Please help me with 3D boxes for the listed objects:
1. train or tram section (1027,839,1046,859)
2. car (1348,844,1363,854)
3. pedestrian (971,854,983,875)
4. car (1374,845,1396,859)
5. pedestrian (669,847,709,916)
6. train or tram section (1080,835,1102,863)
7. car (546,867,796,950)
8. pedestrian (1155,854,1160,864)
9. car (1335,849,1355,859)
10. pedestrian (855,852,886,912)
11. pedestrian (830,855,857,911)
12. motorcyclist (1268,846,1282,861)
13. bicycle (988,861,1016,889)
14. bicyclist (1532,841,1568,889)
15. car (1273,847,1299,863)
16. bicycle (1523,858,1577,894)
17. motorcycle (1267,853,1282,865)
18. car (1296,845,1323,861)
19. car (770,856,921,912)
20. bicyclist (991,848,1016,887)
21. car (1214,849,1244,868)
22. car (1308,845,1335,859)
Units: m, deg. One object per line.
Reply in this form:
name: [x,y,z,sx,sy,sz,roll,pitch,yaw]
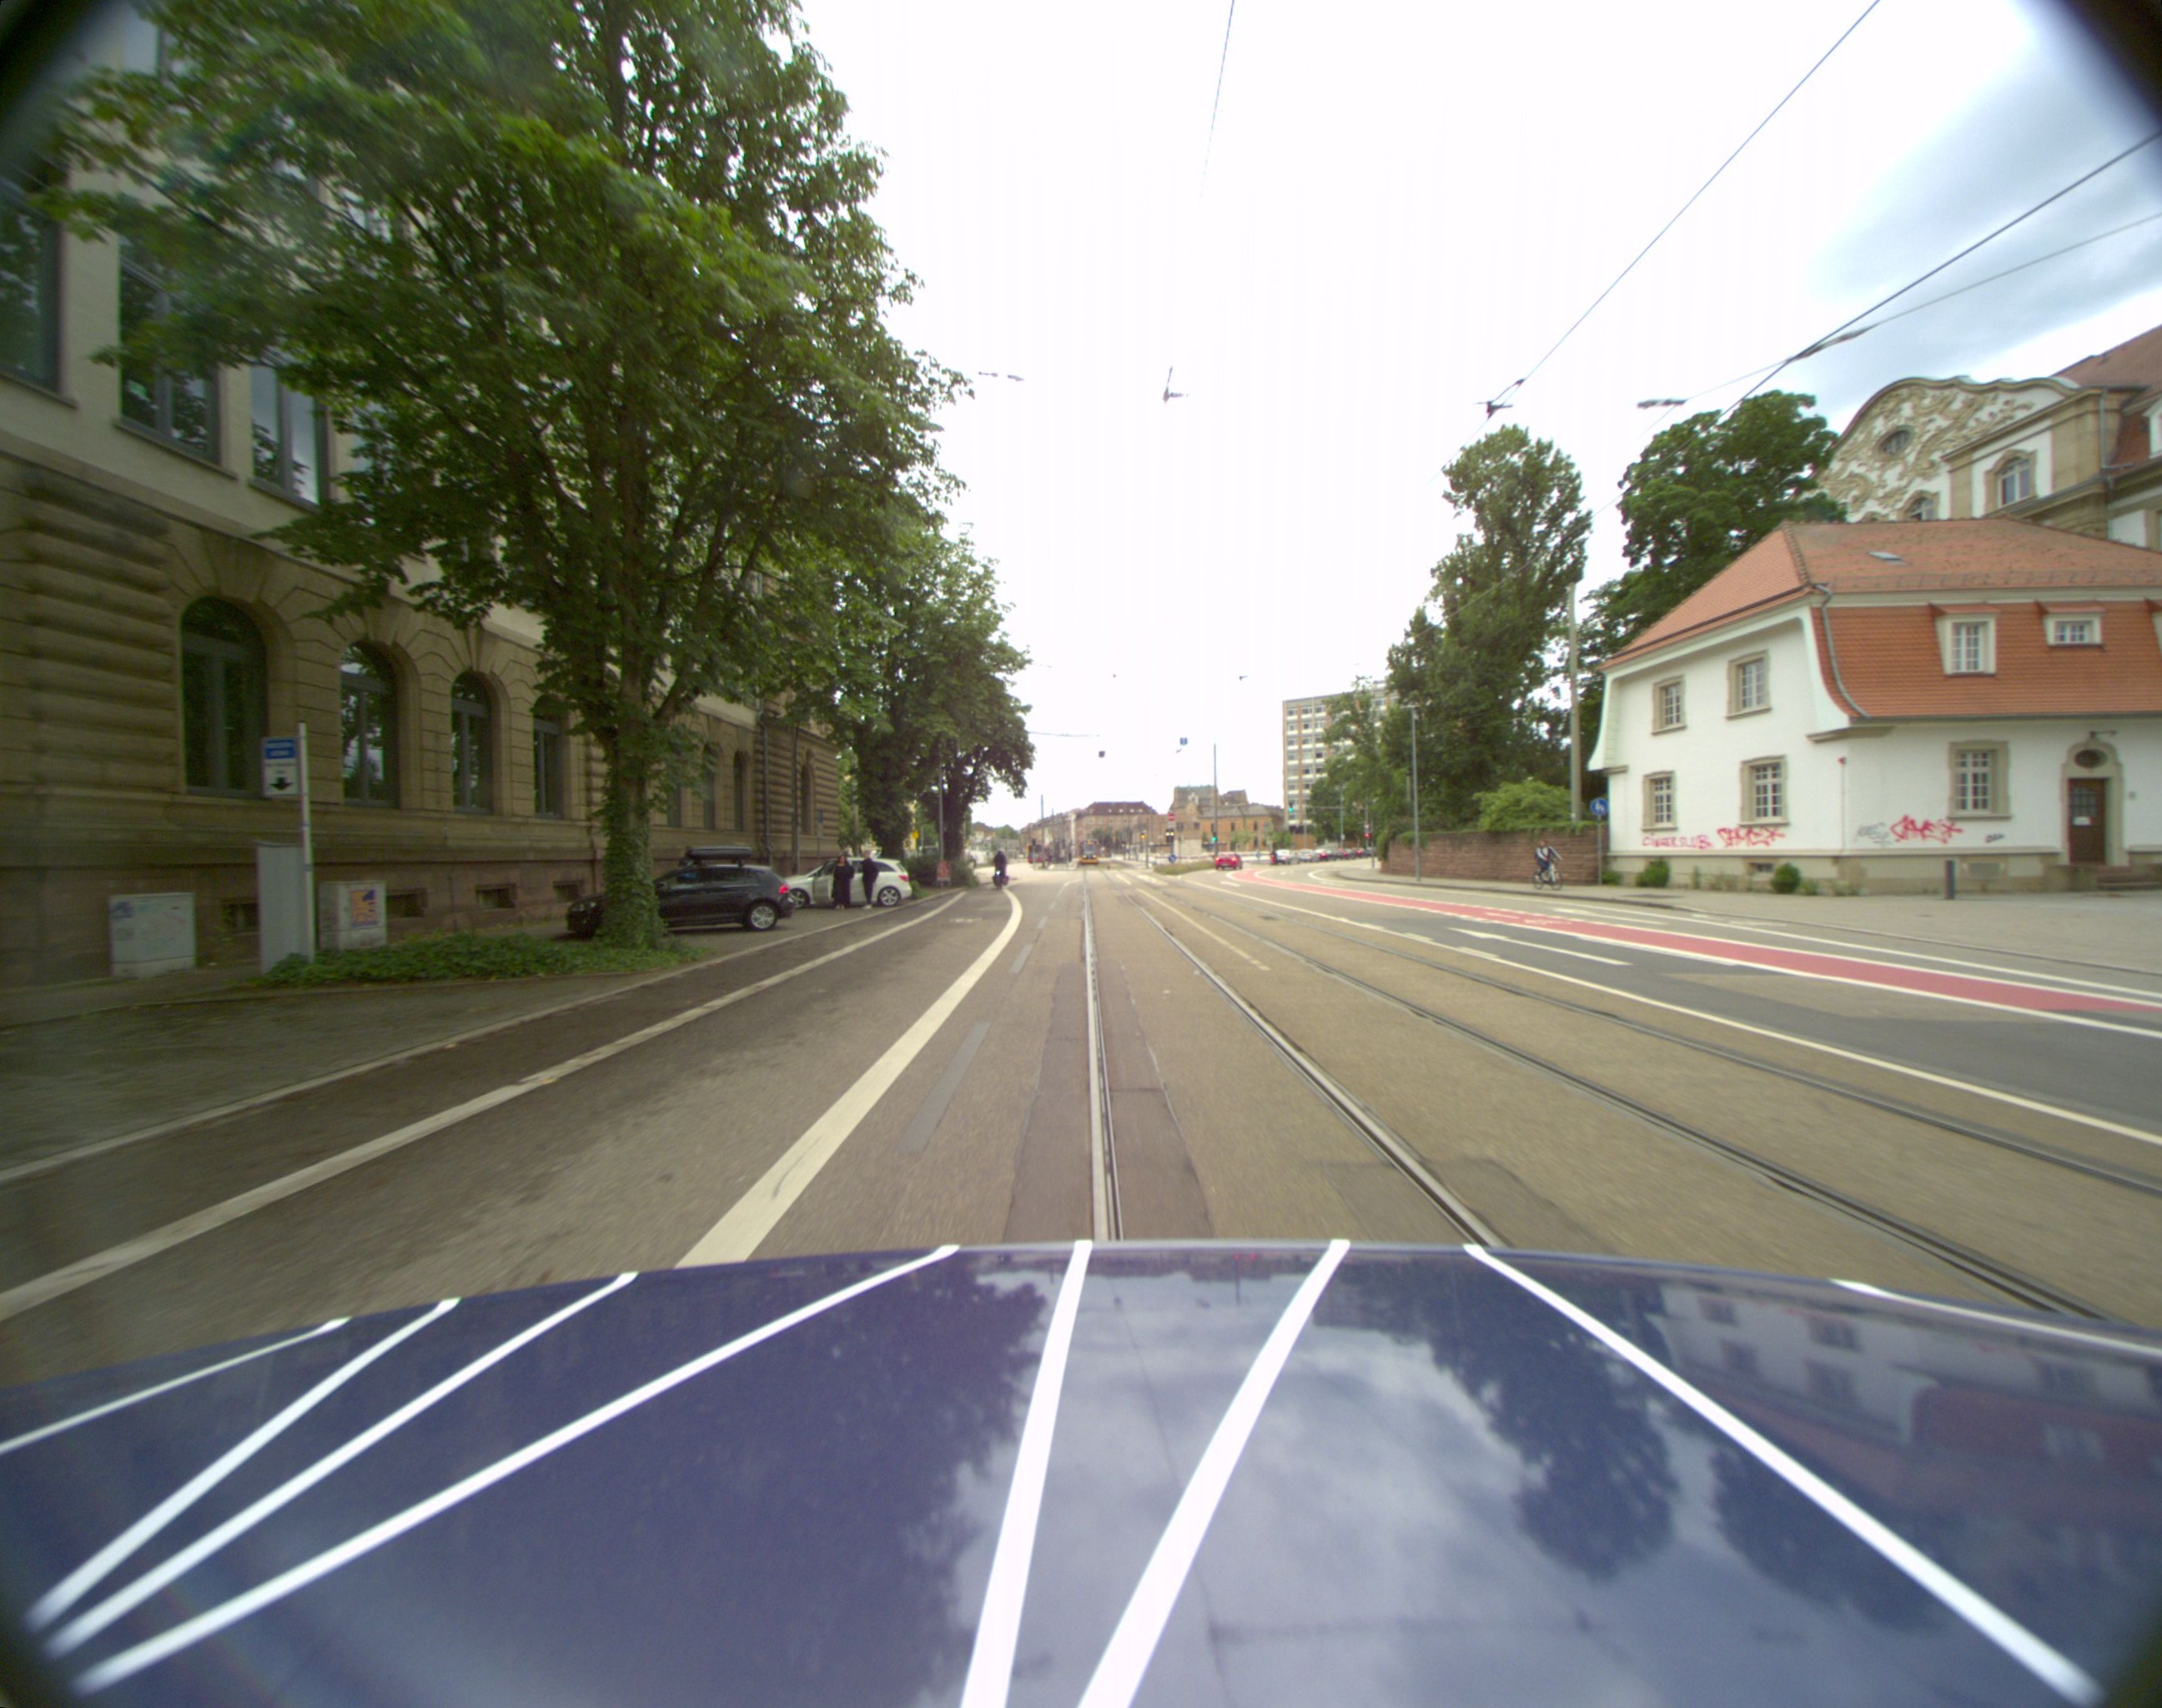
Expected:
train or tram section: [-6.750,-0.712,116.146,2.610,2.936,4.964,-1,1,-2]
car: [36.064,-0.660,99.745,1.412,1.324,3.316,-1,1,29]
pedestrian: [-8.792,0.857,64.337,0.917,1.699,1.157,-1,1,-12]
car: [36.031,-0.263,90.006,1.828,1.573,4.007,-1,1,32]
pedestrian: [-10.626,0.726,20.632,0.680,1.828,0.751,1,1,0]
train or tram section: [1.313,-0.705,102.538,2.631,3.660,5.983,-1,1,-2]
car: [-8.391,1.034,15.785,4.338,1.394,1.750,-1,1,-33]
pedestrian: [8.099,0.504,80.325,0.544,1.050,0.637,-1,1,8]
car: [32.406,-0.042,93.296,1.420,1.164,3.077,0,1,37]
pedestrian: [-6.309,0.819,22.780,0.687,1.740,0.612,-2,1,-38]
pedestrian: [-7.018,0.853,22.443,0.645,1.617,0.590,-2,1,-23]
motorcyclist: [18.978,-0.059,74.395,1.074,1.477,1.253,-1,1,23]
bicycle: [-3.727,0.982,36.054,0.853,1.234,2.311,-1,-1,5]
bicyclist: [16.654,0.387,27.000,0.776,1.681,0.869,-1,1,1]
car: [20.948,0.078,77.552,1.491,1.500,3.476,0,1,33]
bicycle: [16.664,0.777,27.058,0.776,1.205,1.869,-1,1,1]
motorcycle: [18.875,0.463,74.099,1.054,1.063,2.652,-1,1,22]
car: [25.283,-0.123,84.047,1.682,1.641,3.988,0,1,35]
car: [-7.345,0.881,23.739,4.330,1.542,1.747,-1,1,-22]
bicyclist: [-3.700,0.647,36.216,0.881,1.811,1.479,-1,-1,5]
car: [12.464,0.388,63.819,1.757,1.491,4.006,1,1,22]
car: [28.070,-0.263,88.609,1.782,1.602,4.332,0,1,35]
